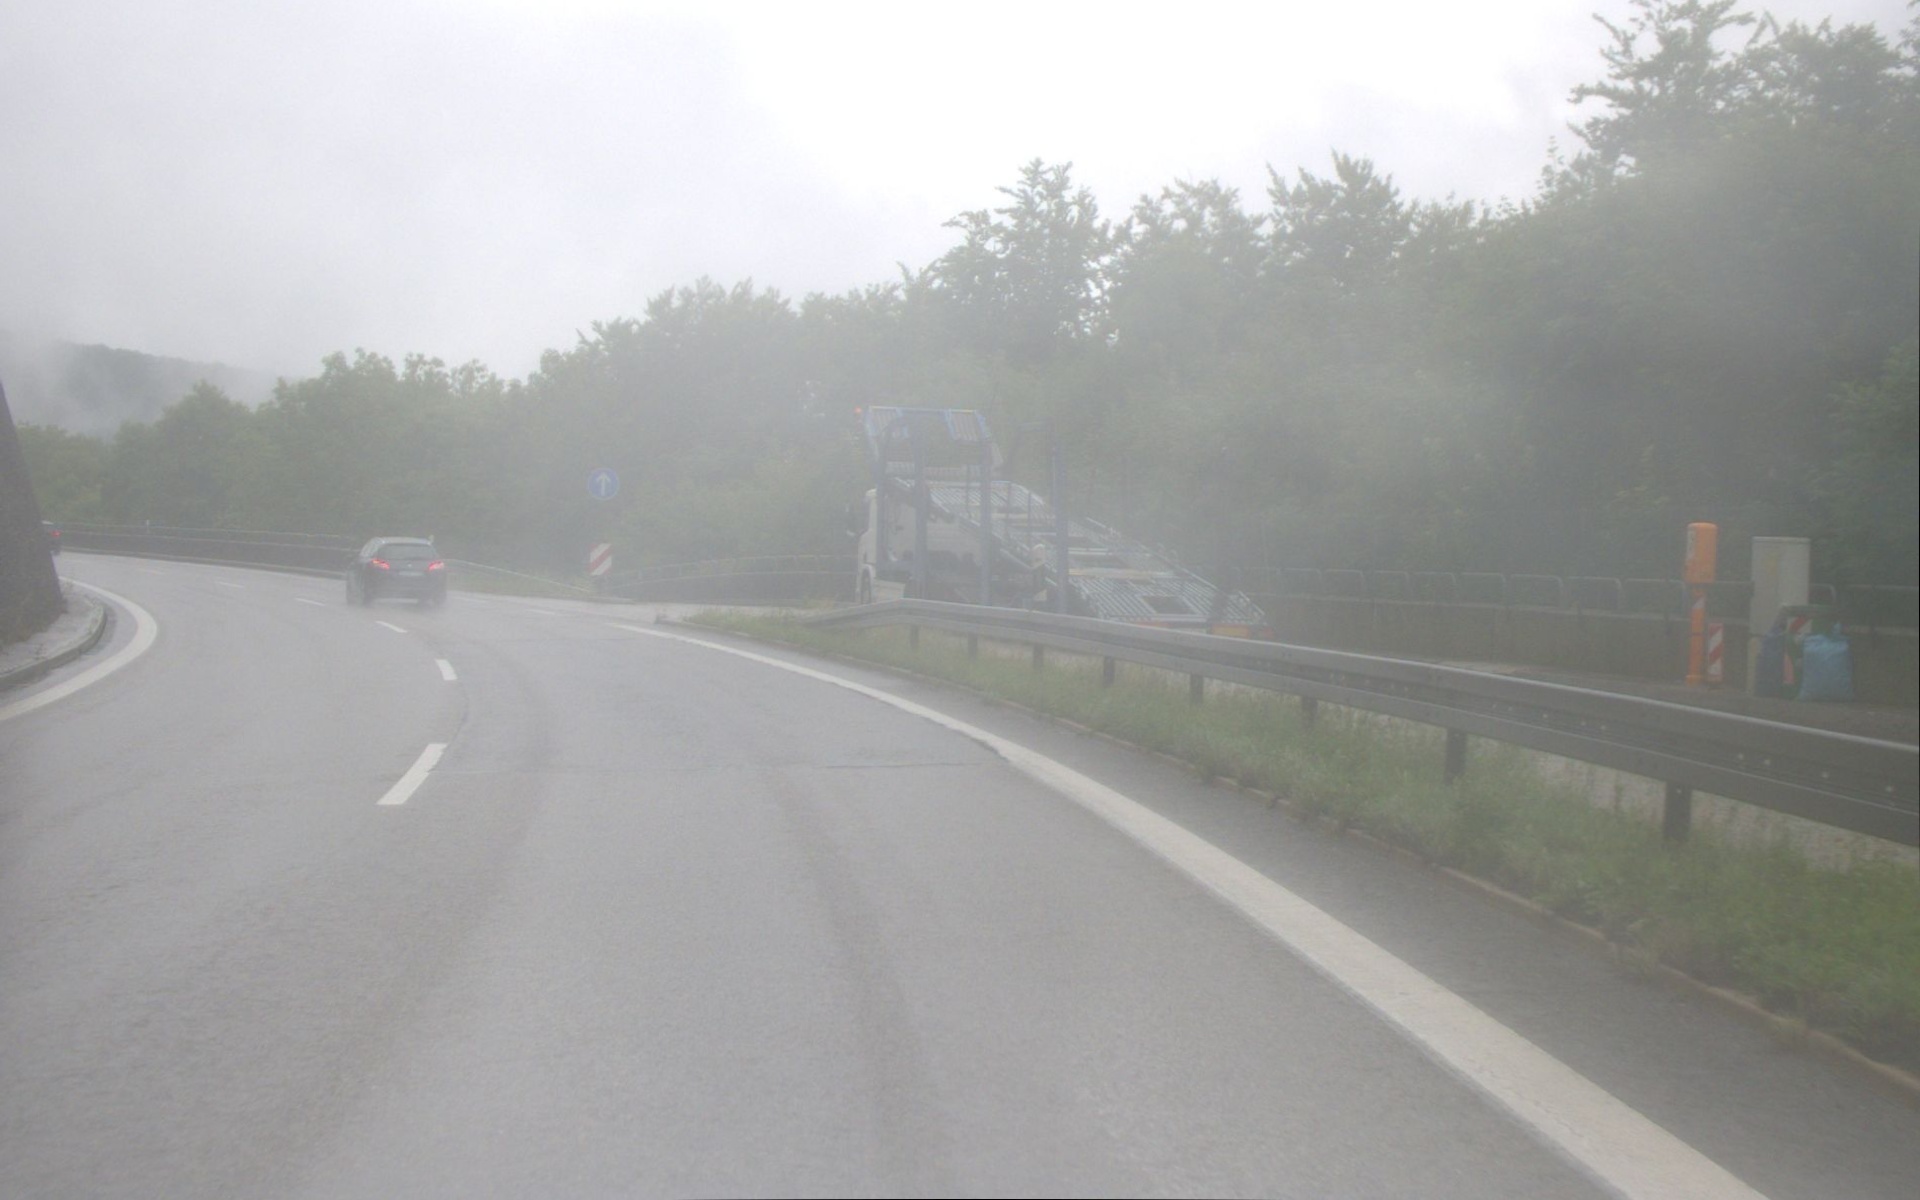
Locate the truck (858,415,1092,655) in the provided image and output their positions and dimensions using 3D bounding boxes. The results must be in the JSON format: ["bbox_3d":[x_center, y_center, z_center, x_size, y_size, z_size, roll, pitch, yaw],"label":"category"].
[{"bbox_3d":[0.172,-1.192,64.074,2.895,4.230,6.883,0,1,-12],"label":"truck"}]

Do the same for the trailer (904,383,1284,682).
[{"bbox_3d":[1.797,-1.068,56.137,2.891,4.230,14.702,0,1,-11],"label":"trailer"}]

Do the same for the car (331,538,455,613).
[{"bbox_3d":[-12.383,-0.542,74.888,1.903,1.494,4.001,2,1,-20],"label":"car"}]
